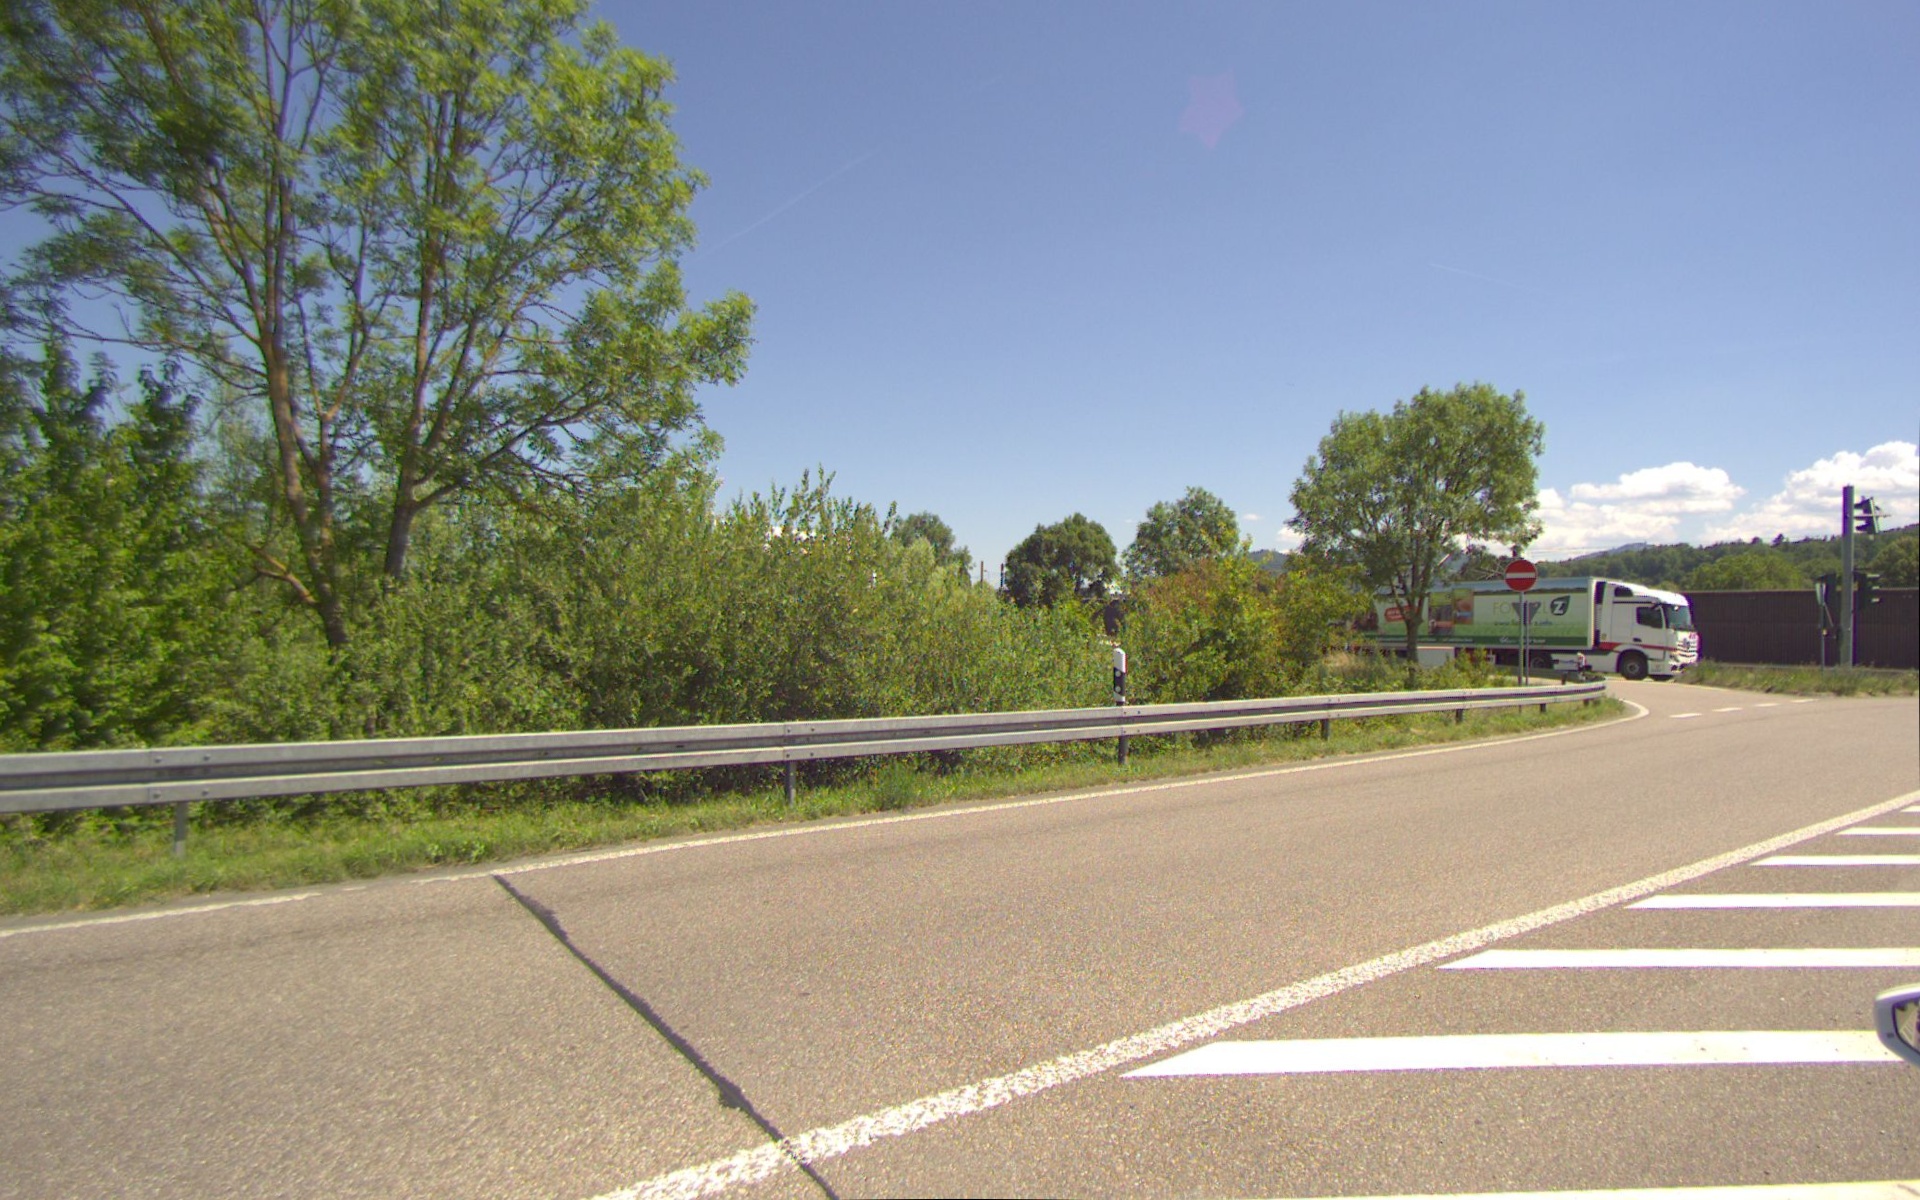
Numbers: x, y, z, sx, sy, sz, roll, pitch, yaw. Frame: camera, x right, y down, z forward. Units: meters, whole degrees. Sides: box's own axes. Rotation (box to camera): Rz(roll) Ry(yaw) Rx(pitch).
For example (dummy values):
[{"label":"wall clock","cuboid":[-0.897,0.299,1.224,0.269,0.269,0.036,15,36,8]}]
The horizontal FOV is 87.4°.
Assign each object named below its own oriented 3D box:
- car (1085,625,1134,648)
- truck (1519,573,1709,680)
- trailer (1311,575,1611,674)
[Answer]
[{"label":"car","cuboid":[10.356,2.527,69.685,1.537,1.484,3.455,2,-1,-31]},{"label":"truck","cuboid":[26.517,1.047,40.969,3.027,4.007,5.736,2,-1,-31]},{"label":"trailer","cuboid":[22.821,1.053,47.202,3.027,4.007,13.074,2,-1,-31]}]
